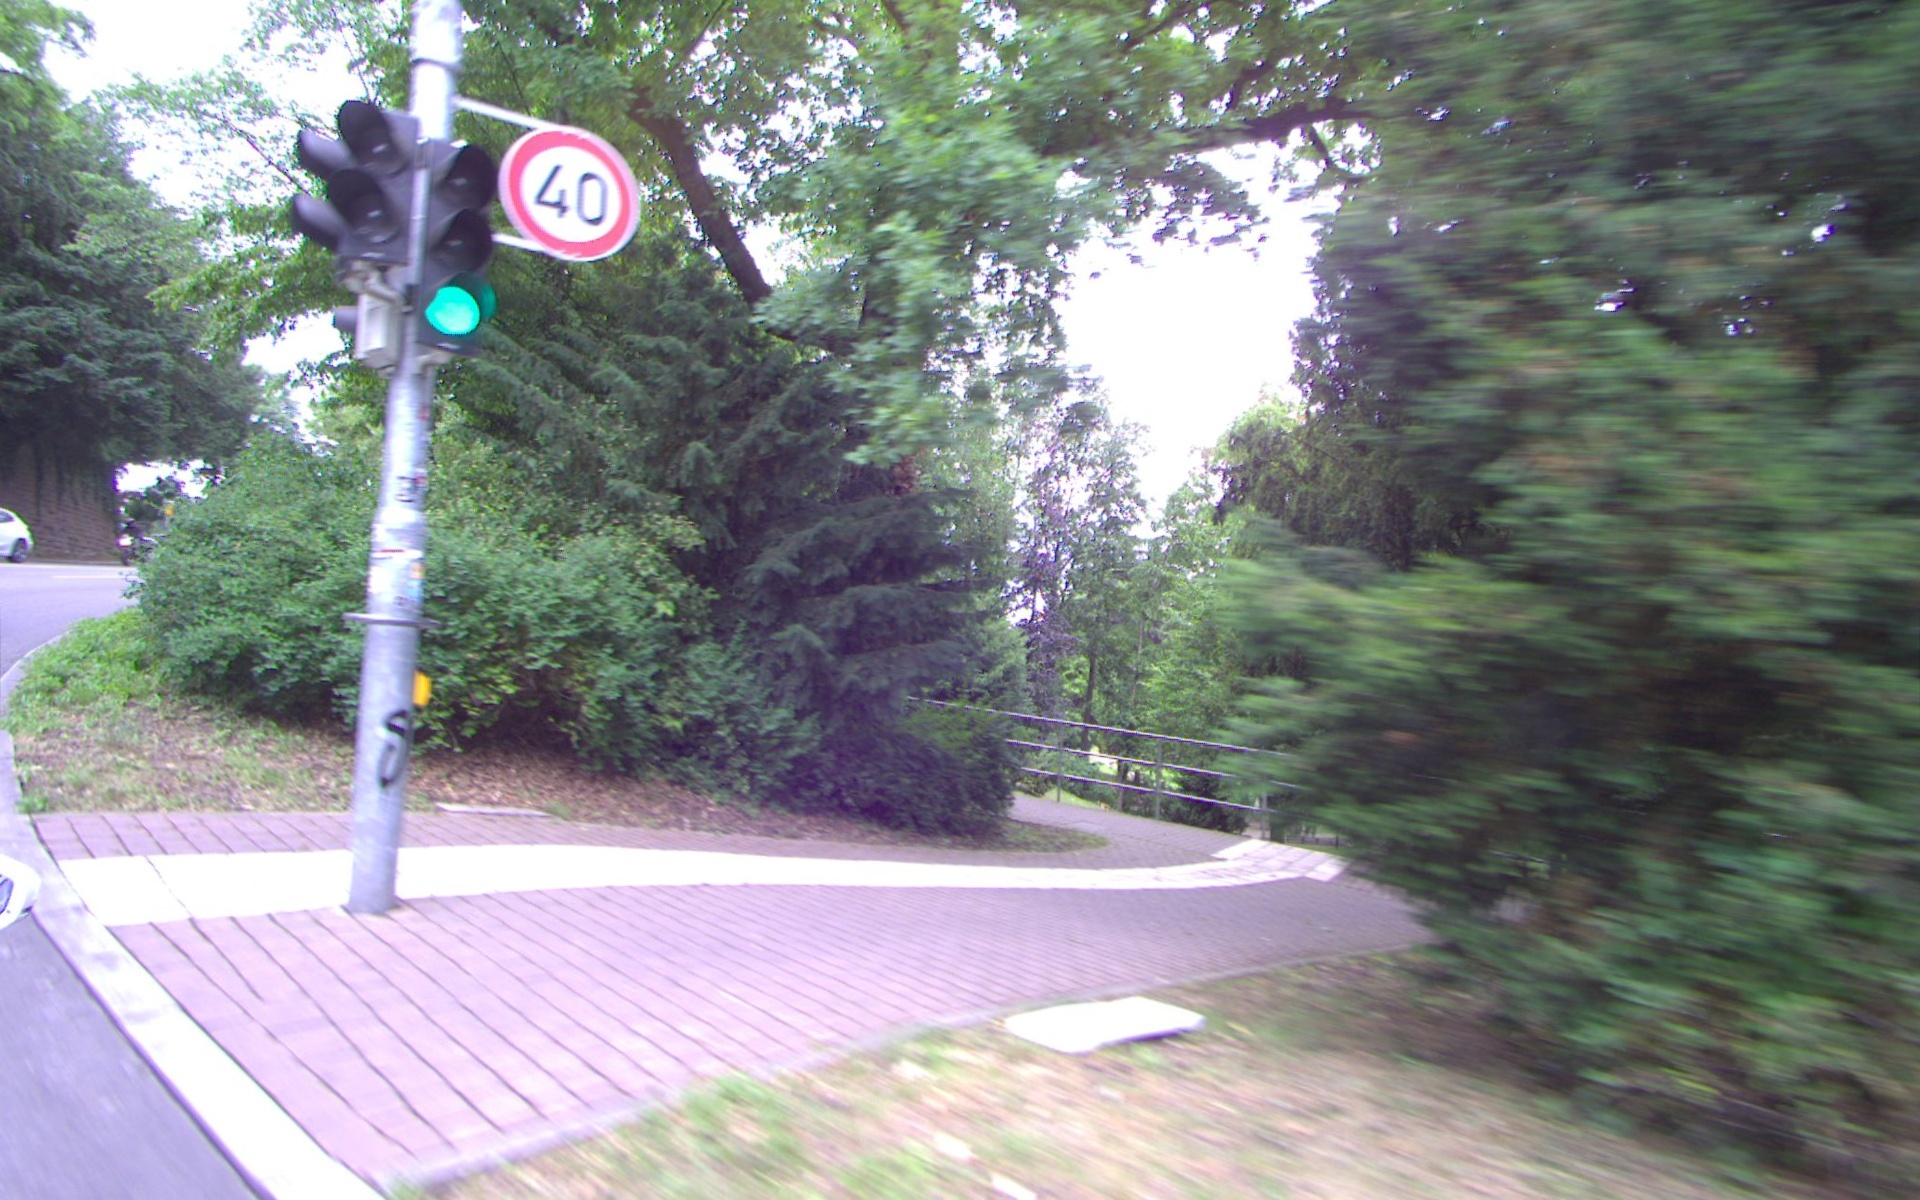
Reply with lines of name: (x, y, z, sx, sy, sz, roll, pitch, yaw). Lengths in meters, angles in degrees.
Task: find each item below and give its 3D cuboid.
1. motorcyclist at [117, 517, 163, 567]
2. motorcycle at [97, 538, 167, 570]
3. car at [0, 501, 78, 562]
motorcyclist: (-27.774, -1.950, 34.093, 0.737, 1.549, 1.092, 3, 0, -14)
motorcycle: (-27.726, -1.532, 33.754, 0.797, 0.901, 2.423, 4, 0, -14)
car: (-25.061, -1.816, 25.653, 1.721, 1.434, 4.324, 3, 0, -8)
